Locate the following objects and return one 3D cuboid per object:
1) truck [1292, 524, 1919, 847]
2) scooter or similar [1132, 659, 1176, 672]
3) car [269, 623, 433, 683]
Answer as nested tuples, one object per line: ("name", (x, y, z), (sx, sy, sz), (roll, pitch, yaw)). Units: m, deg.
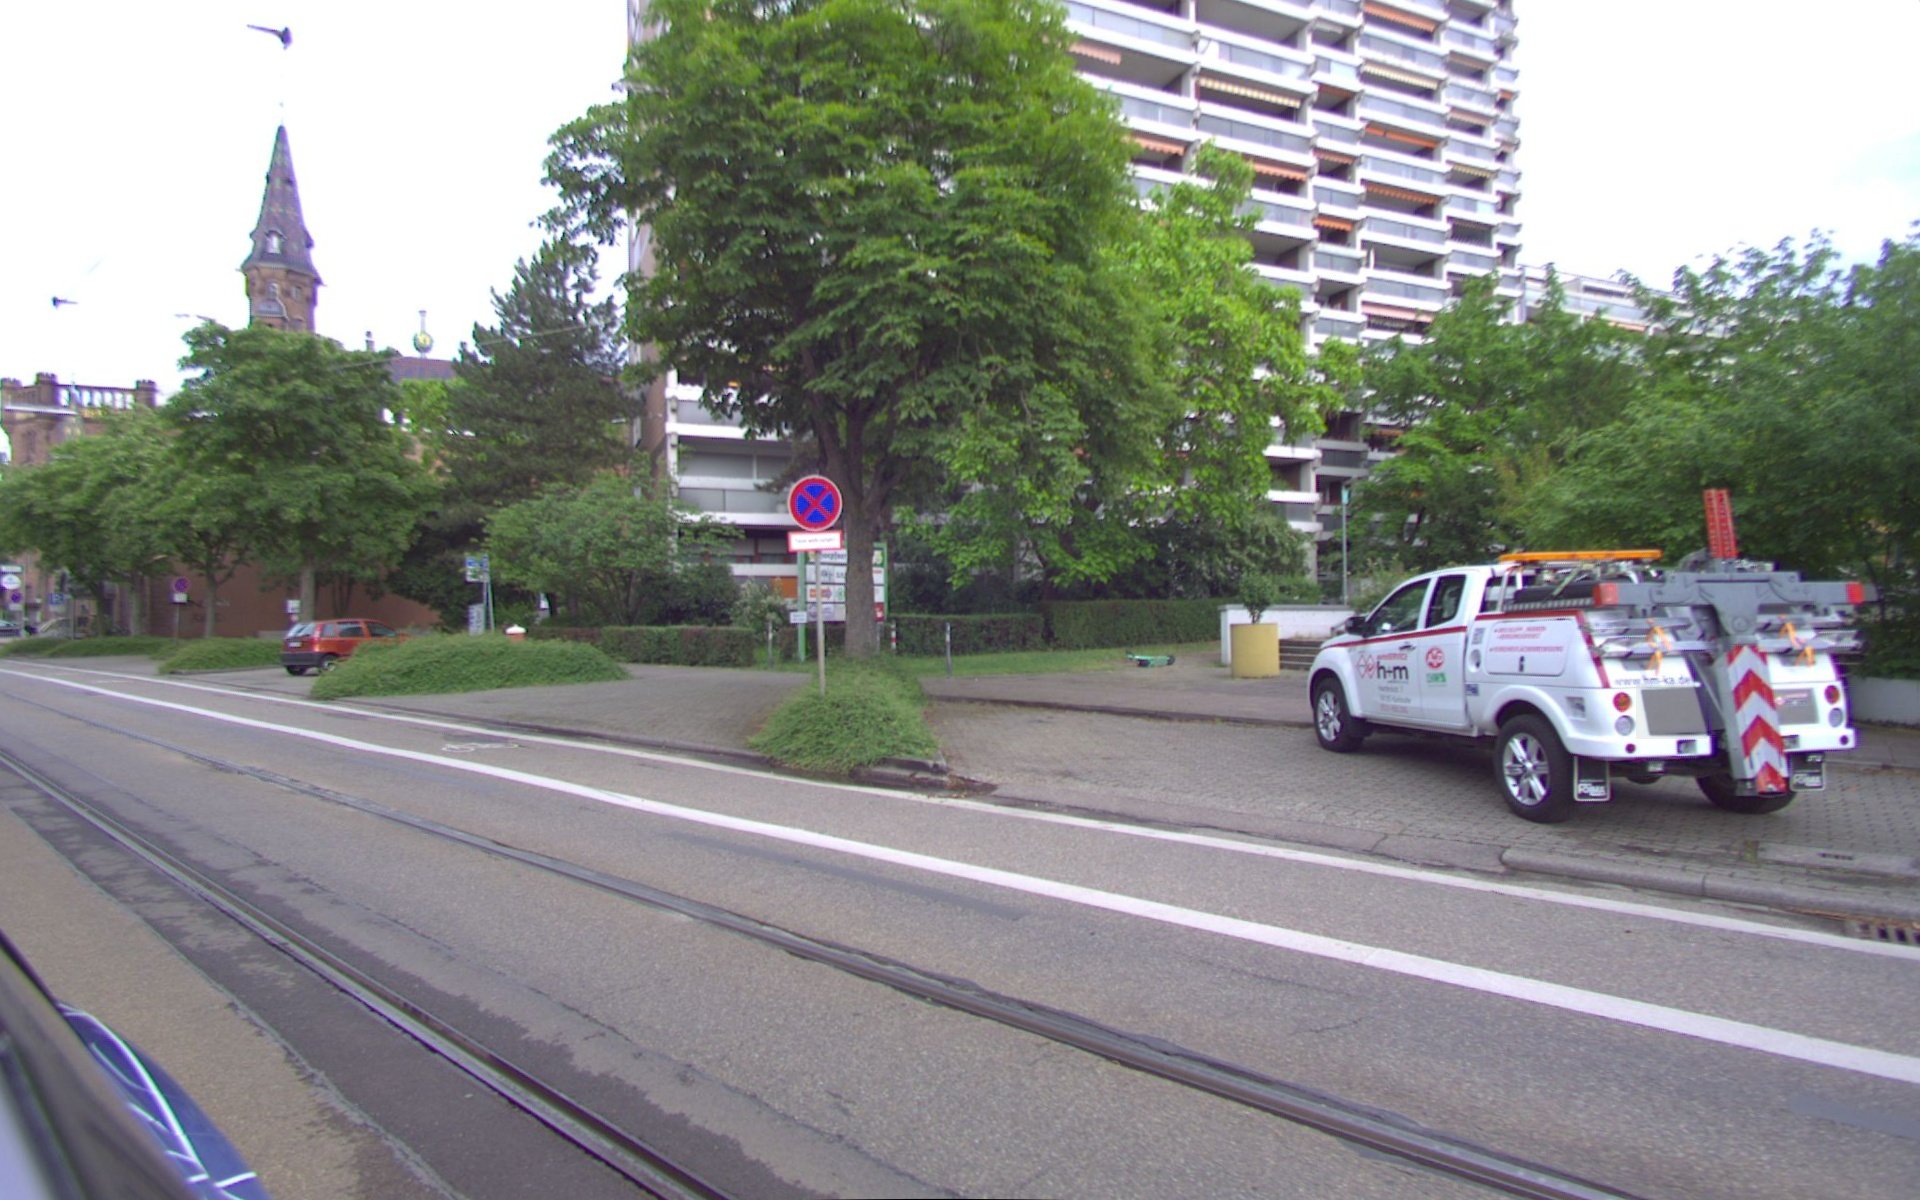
("truck", (4.804, 0.524, 8.532), (1.970, 1.862, 5.069), (-1, -1, -4))
("scooter or similar", (4.265, 1.433, 22.241), (1.203, 0.173, 0.297), (-3, 3, -43))
("car", (-16.233, 1.368, 27.132), (1.626, 1.387, 3.472), (0, 0, 26))
